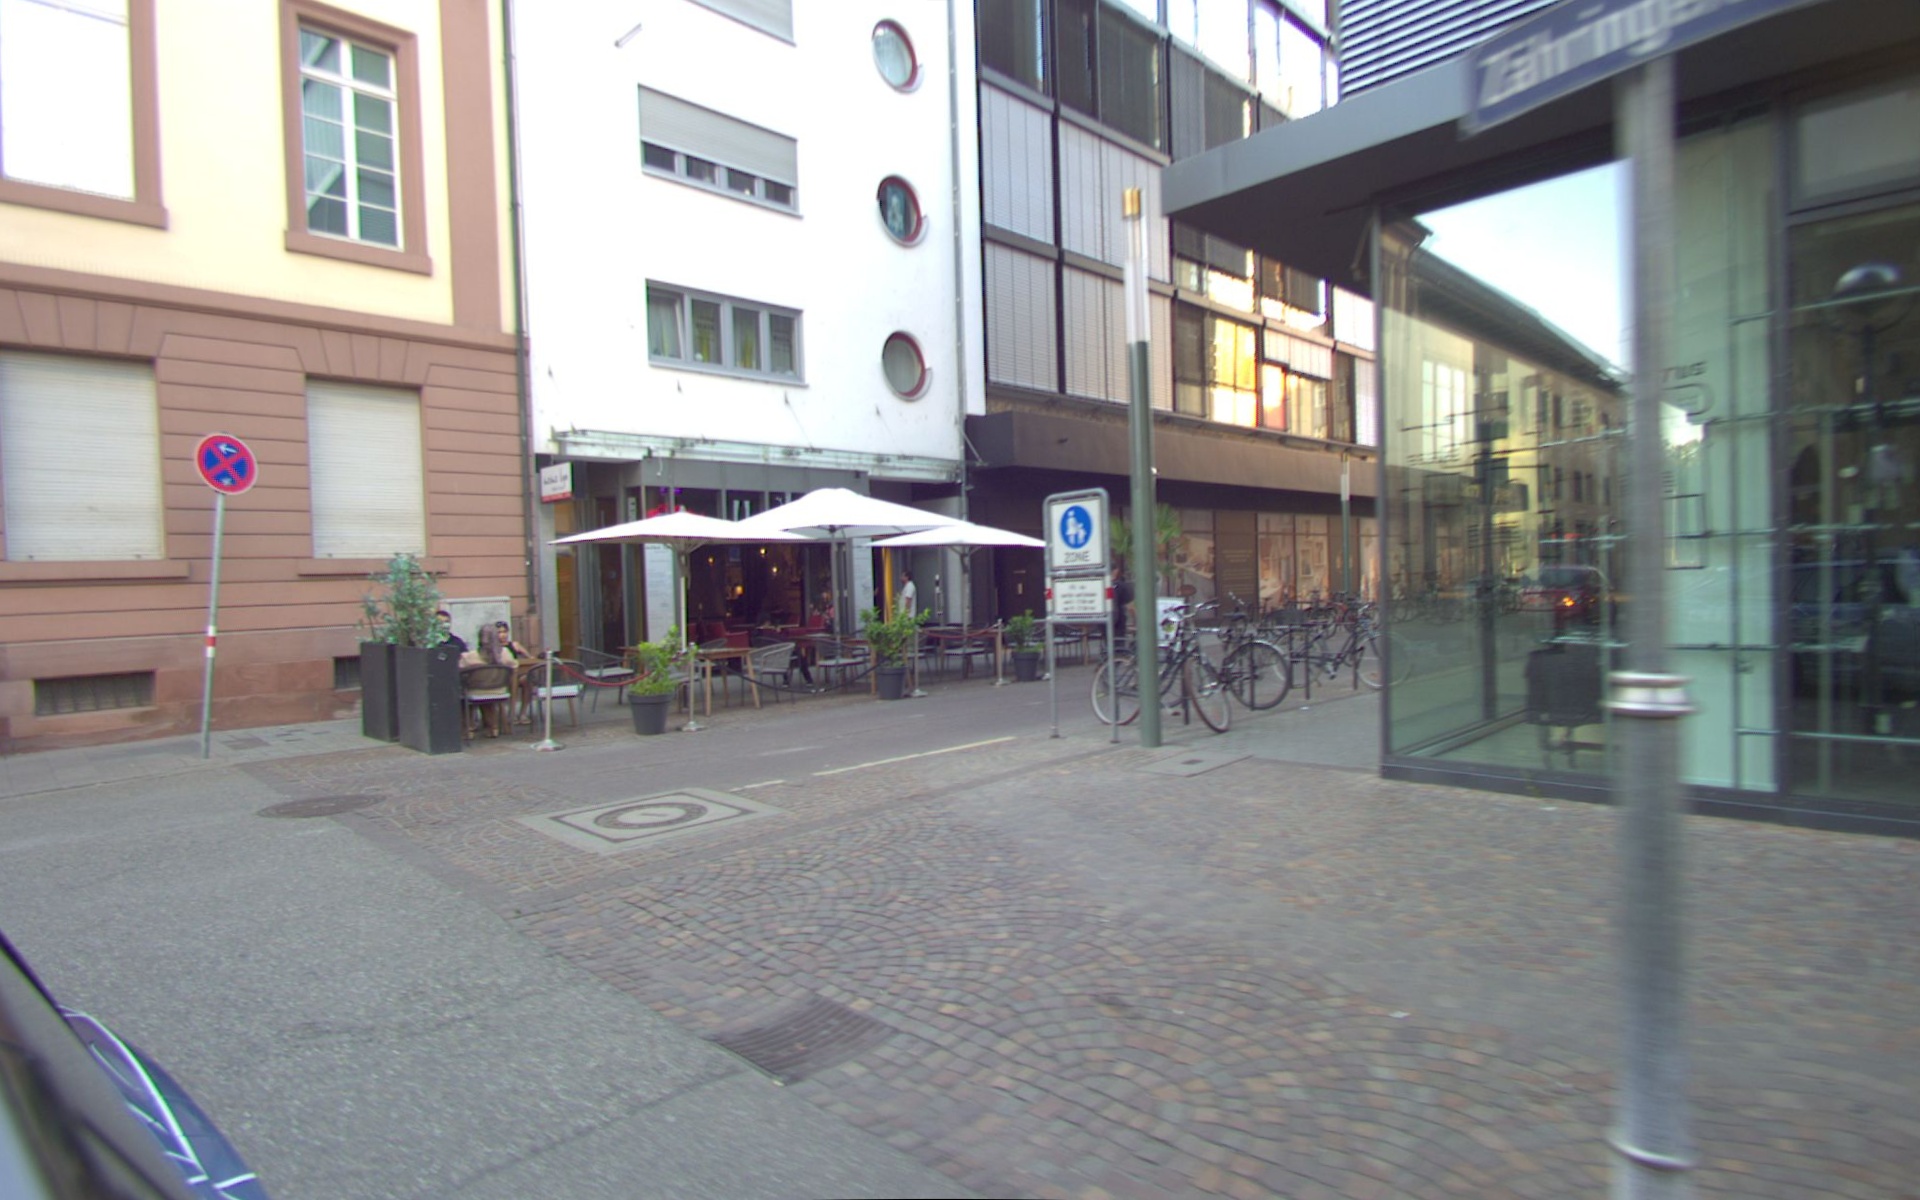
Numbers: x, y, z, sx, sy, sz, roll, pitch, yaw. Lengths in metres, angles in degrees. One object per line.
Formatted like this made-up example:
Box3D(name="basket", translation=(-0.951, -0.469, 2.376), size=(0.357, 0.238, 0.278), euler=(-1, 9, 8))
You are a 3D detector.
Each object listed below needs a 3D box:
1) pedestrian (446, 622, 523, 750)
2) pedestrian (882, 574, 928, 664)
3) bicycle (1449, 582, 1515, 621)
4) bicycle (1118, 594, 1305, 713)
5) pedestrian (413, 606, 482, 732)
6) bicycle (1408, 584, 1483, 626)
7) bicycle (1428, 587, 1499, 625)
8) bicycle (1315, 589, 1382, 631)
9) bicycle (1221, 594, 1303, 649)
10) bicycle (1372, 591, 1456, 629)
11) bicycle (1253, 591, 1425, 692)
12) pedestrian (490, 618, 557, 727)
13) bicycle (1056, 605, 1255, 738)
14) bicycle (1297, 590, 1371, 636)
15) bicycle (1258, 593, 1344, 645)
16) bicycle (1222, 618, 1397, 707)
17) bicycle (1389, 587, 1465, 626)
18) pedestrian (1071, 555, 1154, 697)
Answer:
Box3D(name="pedestrian", translation=(-4.791, 0.840, 10.195), size=(0.554, 1.221, 0.461), euler=(-2, 1, -43))
Box3D(name="pedestrian", translation=(-1.034, 0.350, 19.148), size=(0.619, 1.678, 0.667), euler=(-2, 1, 17))
Box3D(name="bicycle", translation=(16.242, 0.051, 31.529), size=(1.734, 1.154, 0.459), euler=(-1, 1, 44))
Box3D(name="bicycle", translation=(2.645, 0.563, 10.808), size=(1.842, 1.159, 0.601), euler=(-3, -1, 44))
Box3D(name="pedestrian", translation=(-5.796, 0.762, 11.448), size=(0.541, 1.359, 0.489), euler=(-2, 1, -43))
Box3D(name="bicycle", translation=(13.743, 0.142, 28.668), size=(1.849, 1.144, 0.459), euler=(-1, 1, 44))
Box3D(name="bicycle", translation=(14.675, 0.191, 29.540), size=(1.778, 1.059, 0.459), euler=(-1, 1, 44))
Box3D(name="bicycle", translation=(9.562, 0.252, 24.946), size=(1.456, 1.013, 0.459), euler=(-1, 1, 44))
Box3D(name="bicycle", translation=(6.291, 0.440, 21.140), size=(1.543, 1.093, 0.541), euler=(-1, 1, 44))
Box3D(name="bicycle", translation=(11.964, 0.280, 26.713), size=(1.946, 0.964, 0.459), euler=(-1, 1, 44))
Box3D(name="bicycle", translation=(4.668, 0.506, 12.574), size=(1.912, 1.153, 0.549), euler=(-3, 0, 44))
Box3D(name="pedestrian", translation=(-5.165, 0.835, 11.971), size=(0.541, 1.220, 0.525), euler=(-2, 1, -43))
Box3D(name="bicycle", translation=(1.804, 0.647, 9.497), size=(1.674, 1.121, 0.699), euler=(-3, -1, 44))
Box3D(name="bicycle", translation=(8.812, 0.316, 23.899), size=(1.557, 1.044, 0.459), euler=(-1, 1, 44))
Box3D(name="bicycle", translation=(7.606, 0.429, 22.637), size=(1.729, 1.100, 0.541), euler=(-1, 1, 44))
Box3D(name="bicycle", translation=(3.871, 0.691, 11.326), size=(1.794, 0.902, 0.447), euler=(-3, -1, 44))
Box3D(name="bicycle", translation=(12.727, 0.178, 27.640), size=(1.796, 1.016, 0.523), euler=(-1, 1, 44))
Box3D(name="pedestrian", translation=(2.032, 0.325, 13.419), size=(0.737, 1.798, 0.959), euler=(-2, 1, 30))
